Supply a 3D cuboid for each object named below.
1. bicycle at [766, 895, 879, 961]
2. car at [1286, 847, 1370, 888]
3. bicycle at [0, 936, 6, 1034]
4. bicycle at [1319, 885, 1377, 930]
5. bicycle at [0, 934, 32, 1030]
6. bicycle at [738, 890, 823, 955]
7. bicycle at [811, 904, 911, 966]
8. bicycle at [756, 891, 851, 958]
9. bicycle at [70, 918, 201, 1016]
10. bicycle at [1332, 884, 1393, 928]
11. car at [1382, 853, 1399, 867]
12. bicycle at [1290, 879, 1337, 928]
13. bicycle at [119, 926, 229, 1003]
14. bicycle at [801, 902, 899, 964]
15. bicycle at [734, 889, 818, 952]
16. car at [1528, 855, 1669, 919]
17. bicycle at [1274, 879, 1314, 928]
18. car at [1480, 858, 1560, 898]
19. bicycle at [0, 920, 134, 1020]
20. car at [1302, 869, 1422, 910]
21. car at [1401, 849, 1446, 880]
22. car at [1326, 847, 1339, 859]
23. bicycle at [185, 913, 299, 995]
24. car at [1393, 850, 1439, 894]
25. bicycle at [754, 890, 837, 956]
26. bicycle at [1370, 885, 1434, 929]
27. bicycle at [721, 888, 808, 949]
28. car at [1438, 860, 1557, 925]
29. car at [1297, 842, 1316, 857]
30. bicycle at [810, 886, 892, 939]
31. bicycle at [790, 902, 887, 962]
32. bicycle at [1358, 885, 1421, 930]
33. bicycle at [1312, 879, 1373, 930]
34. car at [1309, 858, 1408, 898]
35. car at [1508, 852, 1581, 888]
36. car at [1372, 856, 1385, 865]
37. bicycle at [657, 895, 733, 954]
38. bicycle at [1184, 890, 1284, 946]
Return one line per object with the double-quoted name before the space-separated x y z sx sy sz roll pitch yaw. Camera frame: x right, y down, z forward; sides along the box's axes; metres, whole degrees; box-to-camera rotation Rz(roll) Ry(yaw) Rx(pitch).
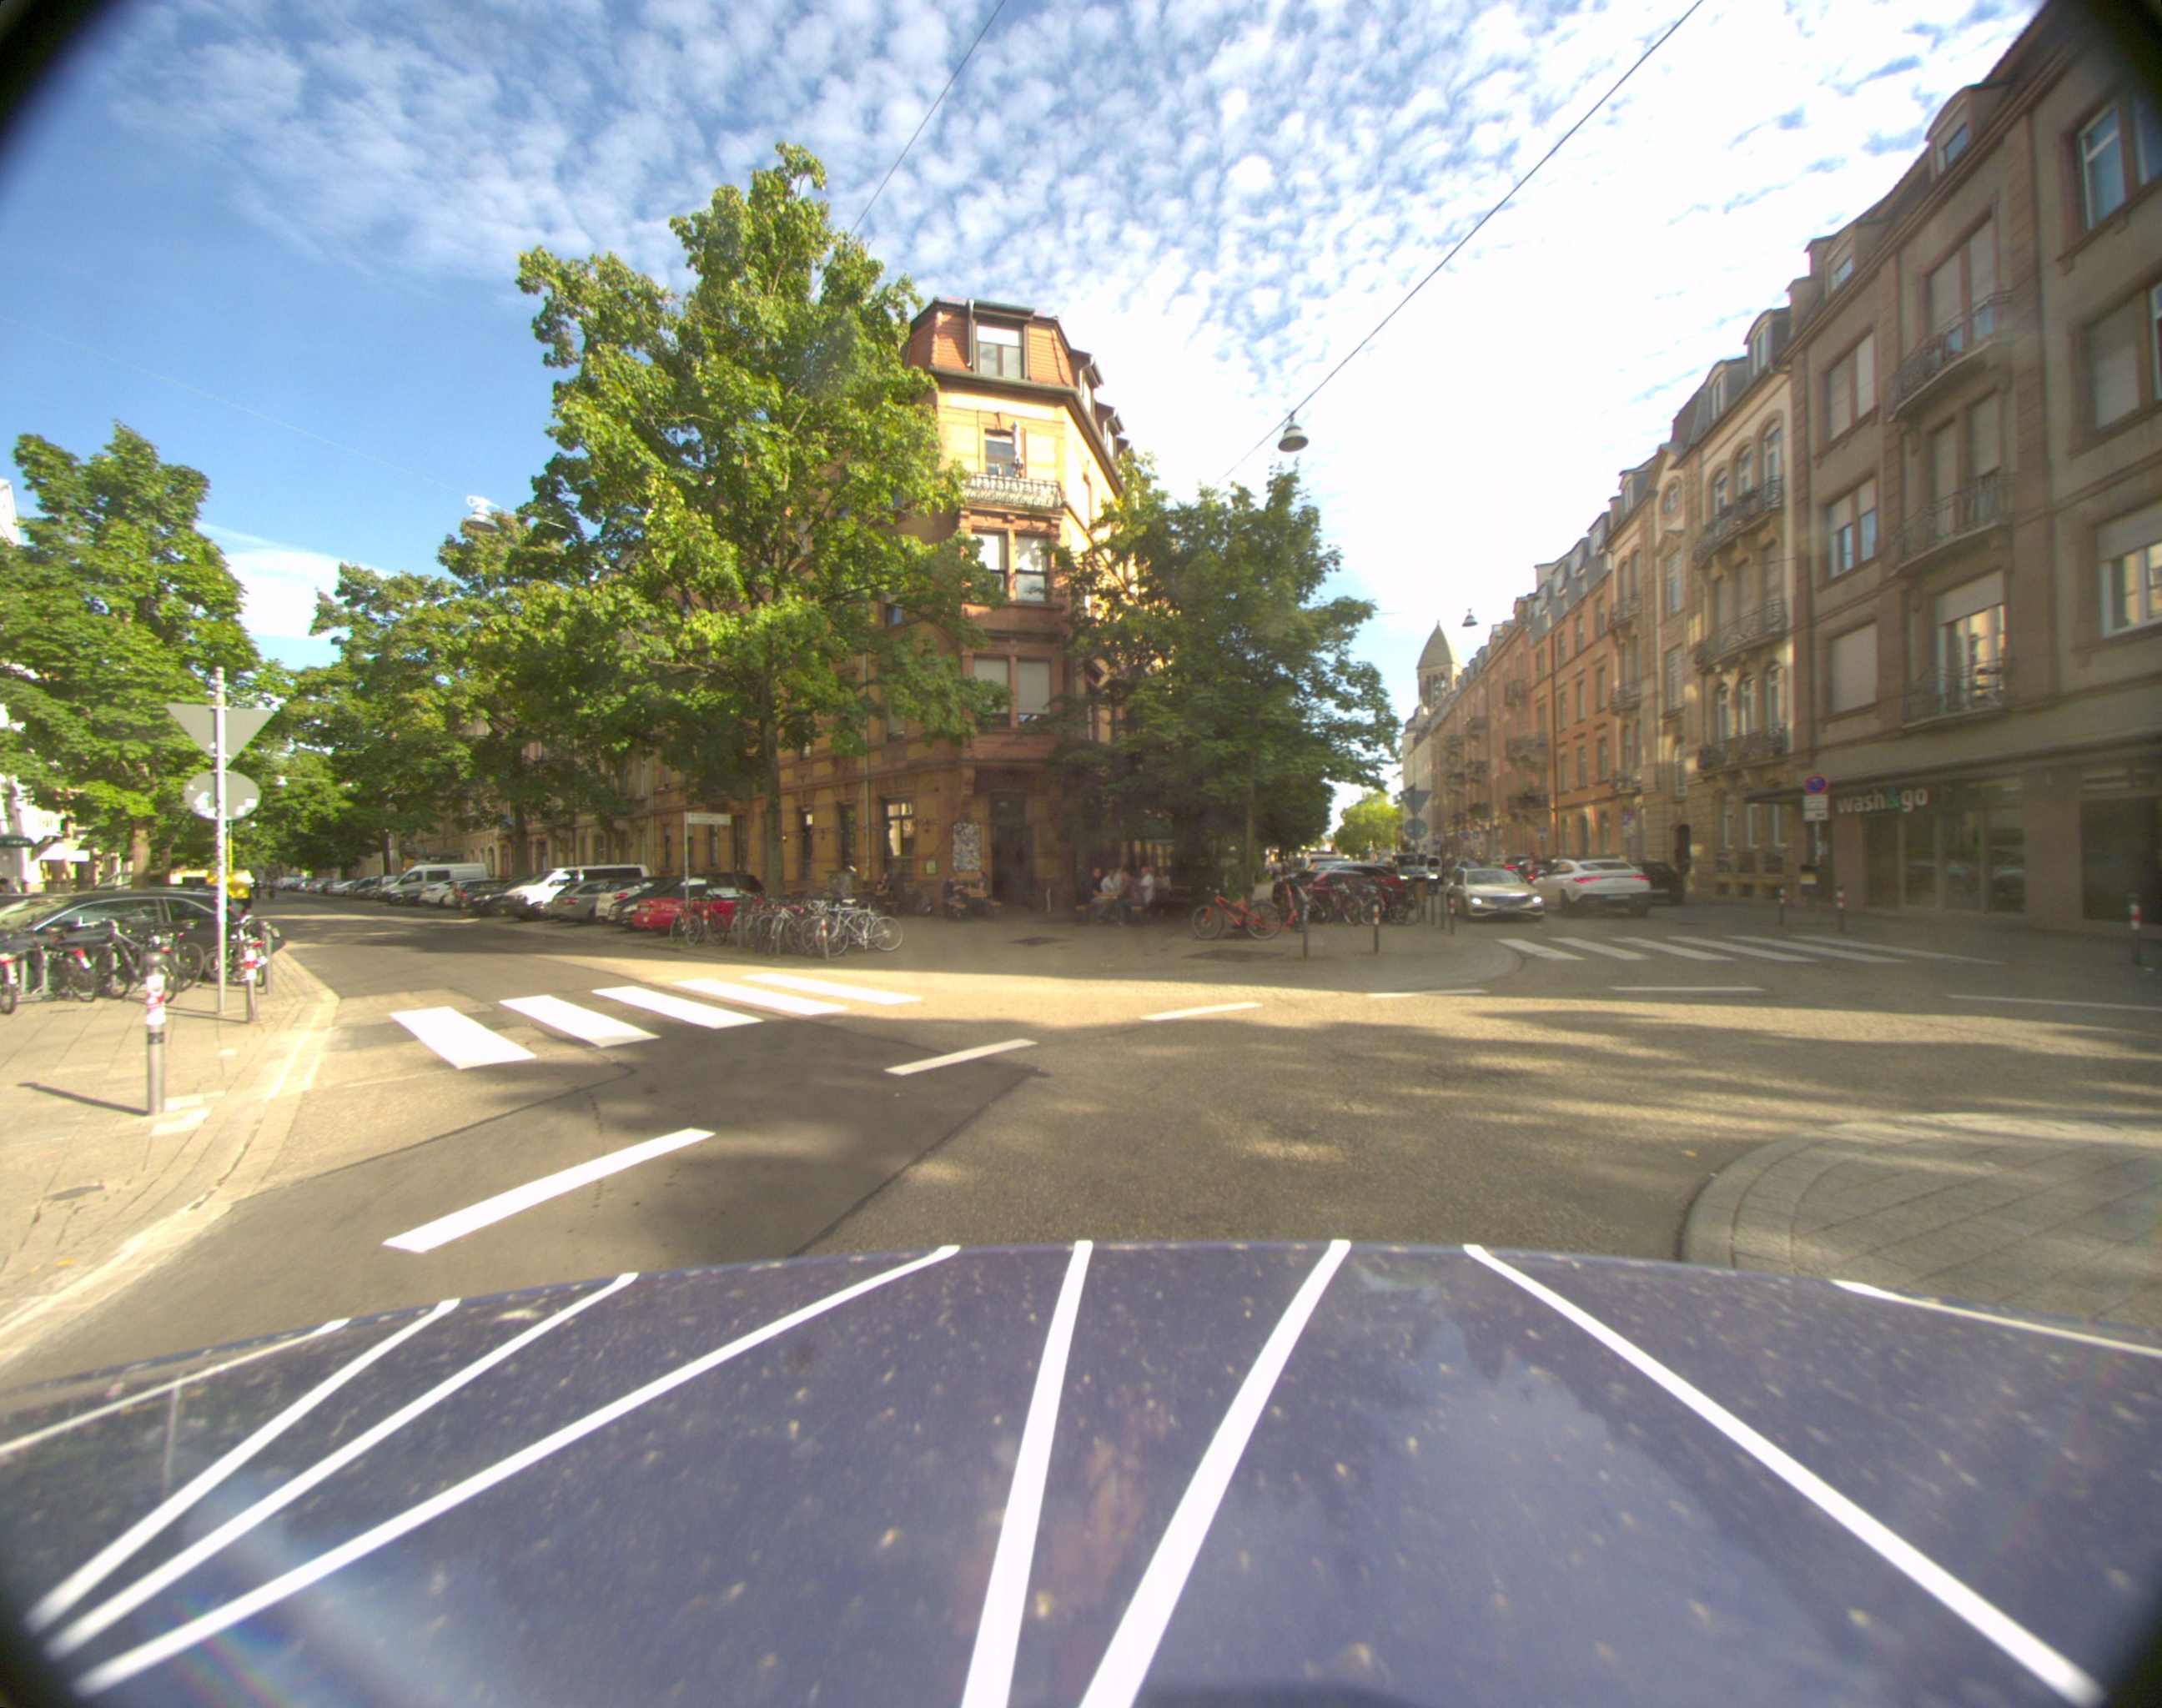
"bicycle" -5.114 1.445 15.136 2.049 1.082 0.447 -3 2 -35
"car" 15.958 0.871 49.128 4.741 2.408 1.998 -2 -1 -15
"bicycle" -12.784 1.446 8.482 1.695 1.079 0.422 0 0 18
"bicycle" 6.657 1.305 19.037 0.418 0.979 1.836 1 0 -14
"bicycle" -12.835 1.489 8.928 1.498 1.012 0.414 -1 -1 29
"bicycle" -6.465 1.440 16.416 0.447 1.195 1.715 0 2 34
"bicycle" -4.095 1.488 14.225 1.715 0.964 0.447 -3 2 -35
"bicycle" -5.629 1.406 15.478 1.715 1.195 0.447 -3 2 -35
"bicycle" -12.322 1.440 9.897 1.849 1.169 0.414 -1 -1 17
"bicycle" 7.152 1.306 19.372 0.472 0.979 1.862 1 0 -14
"car" 41.746 0.811 102.593 1.724 1.921 4.017 -1 0 18
"bicycle" 5.808 1.216 19.050 0.475 1.094 1.674 1 0 -7
"bicycle" -12.875 1.550 10.790 1.420 0.995 0.493 -1 -1 17
"bicycle" -4.403 1.489 14.561 1.715 0.981 0.447 -3 2 -35
"bicycle" -6.724 1.433 16.837 0.447 1.195 1.715 0 2 34
"car" 14.575 0.897 21.754 1.996 1.624 4.851 -1 -1 18
"bicycle" 5.286 1.207 18.966 0.434 1.094 1.674 1 0 -3
"car" 17.576 0.933 30.623 1.767 1.373 4.457 -4 -1 17
"bicycle" -12.802 1.431 9.587 1.849 1.169 0.414 -1 -1 17
"car" 9.729 1.233 26.404 3.587 1.315 1.512 1 0 -6
"car" 22.242 0.657 49.576 1.941 1.868 4.842 -3 -1 16
"car" 41.520 -0.098 125.424 1.996 1.877 4.006 -3 -1 19
"bicycle" -12.707 1.485 11.499 1.849 1.169 0.414 -1 -1 17
"car" 16.437 0.841 37.404 1.790 2.051 4.006 -1 0 20
"bicycle" -6.010 1.422 16.094 0.447 1.195 1.715 -1 2 28
"bicycle" 8.228 1.344 19.547 0.472 0.979 1.862 1 0 -14
"bicycle" -7.137 1.431 17.193 1.715 1.195 0.447 -3 2 -44
"car" 11.726 1.023 21.775 1.941 1.587 4.843 -3 -1 16
"car" 27.433 -0.486 92.495 1.848 1.724 4.004 -3 -1 12
"bicycle" -5.583 1.392 18.540 1.803 1.108 0.598 -3 2 -44
"bicycle" -4.720 1.494 14.866 1.715 0.981 0.447 -3 2 -35
"bicycle" 7.829 1.337 19.356 0.472 0.979 1.862 1 0 -14
"bicycle" 6.390 1.213 18.678 0.475 1.136 1.836 1 0 -14
"car" 11.644 0.989 31.933 3.587 1.603 1.512 1 0 -6
"car" 21.132 0.702 34.816 1.759 1.487 4.138 -3 -1 16
"car" 48.122 1.048 122.922 1.623 1.371 3.766 -1 0 18
"bicycle" -8.553 1.520 16.780 2.493 1.090 0.583 -1 4 43
"bicycle" 2.996 1.232 14.887 1.853 1.029 0.684 -1 0 16
